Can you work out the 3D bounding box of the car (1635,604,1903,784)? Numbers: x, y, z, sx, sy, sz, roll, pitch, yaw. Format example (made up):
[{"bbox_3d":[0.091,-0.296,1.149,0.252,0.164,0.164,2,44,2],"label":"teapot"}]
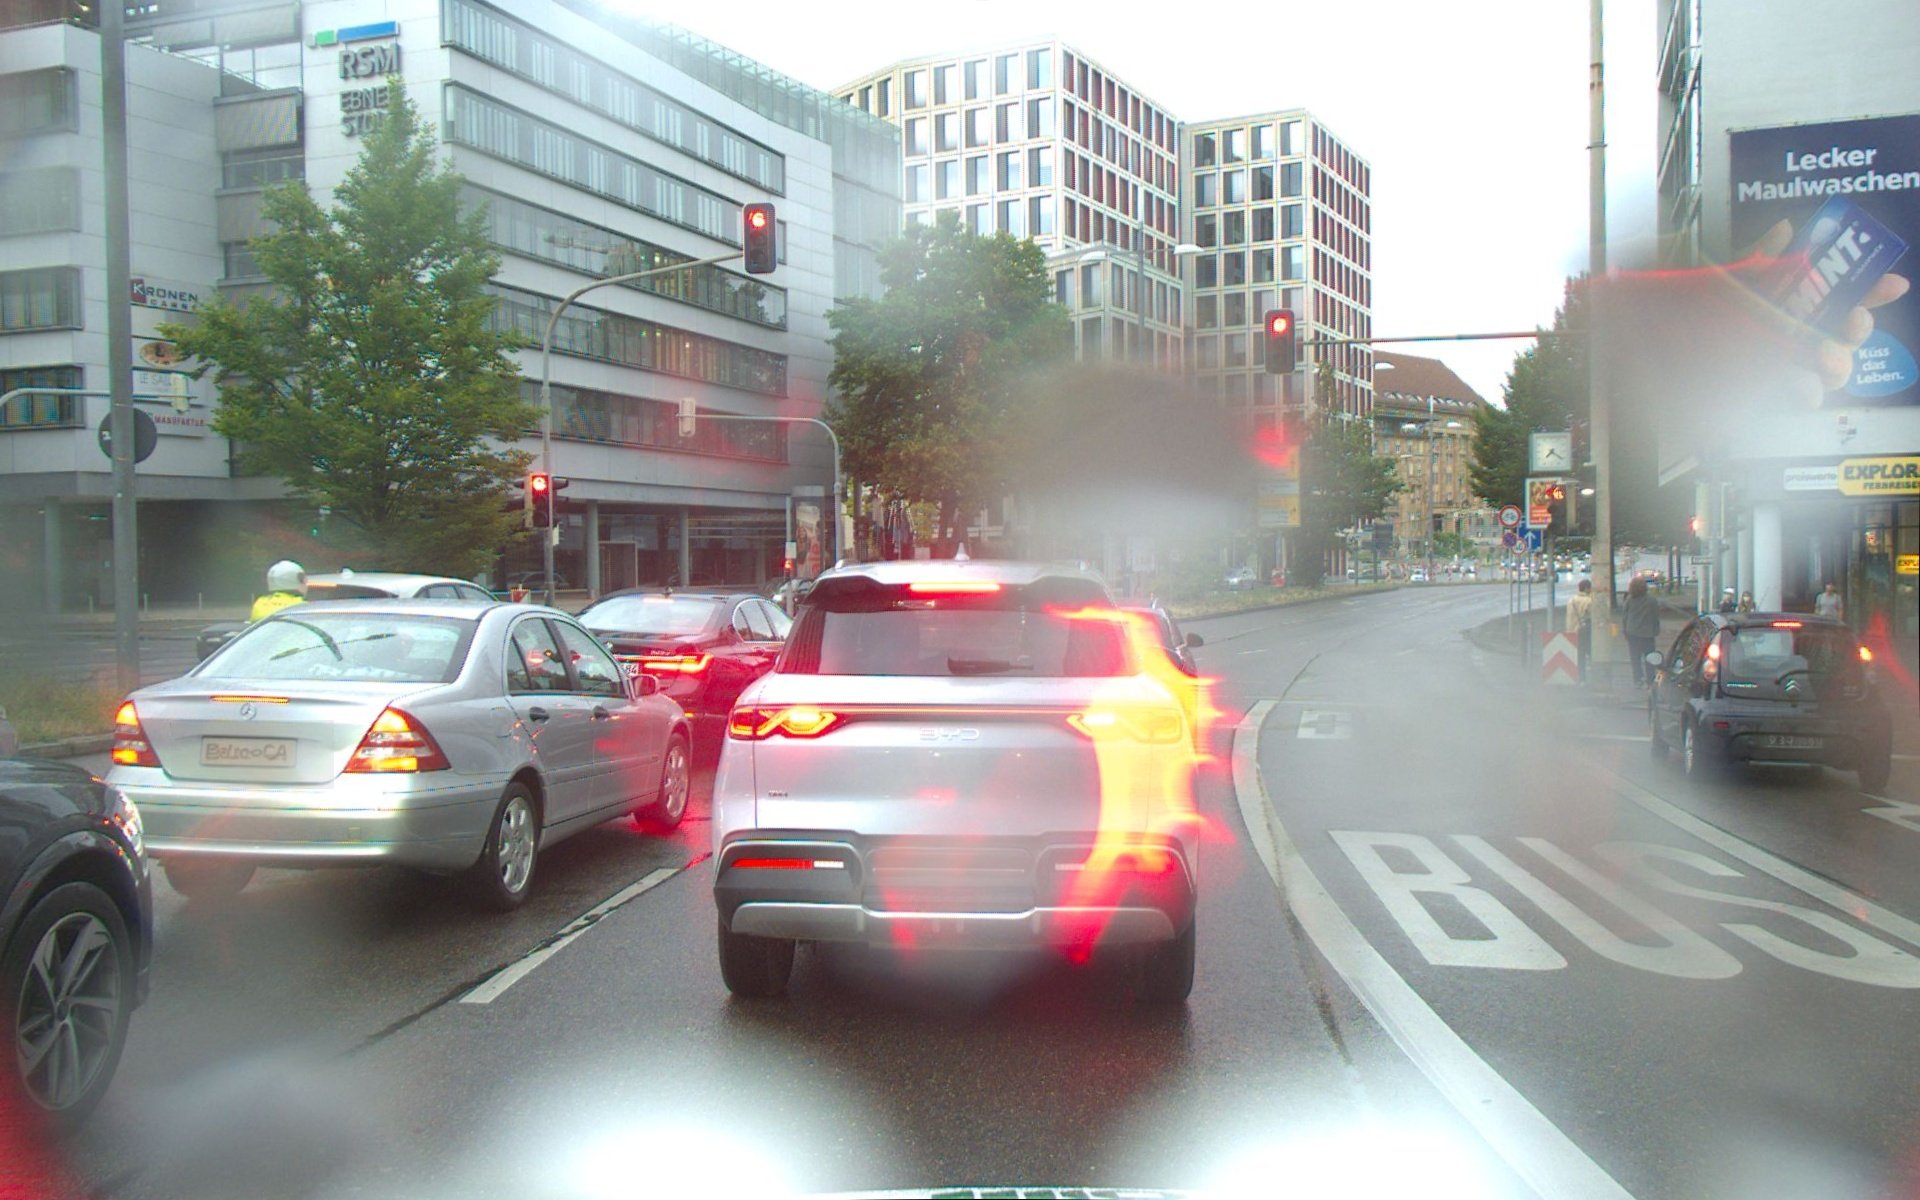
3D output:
[{"bbox_3d":[7.485,0.785,15.655,1.537,1.454,4.003,1,0,15],"label":"car"}]

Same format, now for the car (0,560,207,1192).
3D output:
[{"bbox_3d":[-3.140,0.675,2.982,1.614,1.548,4.271,1,1,0],"label":"car"}]

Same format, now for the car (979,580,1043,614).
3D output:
[{"bbox_3d":[2.539,-0.152,81.207,1.598,1.586,4.592,0,1,23],"label":"car"}]

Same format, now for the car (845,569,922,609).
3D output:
[{"bbox_3d":[-3.162,-0.445,69.448,1.606,1.598,3.714,1,0,27],"label":"car"}]

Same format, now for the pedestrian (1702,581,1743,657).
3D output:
[{"bbox_3d":[17.087,0.411,37.060,0.659,1.684,0.649,1,0,43],"label":"pedestrian"}]

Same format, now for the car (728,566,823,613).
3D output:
[{"bbox_3d":[-6.810,-0.400,61.510,1.952,1.638,4.001,1,1,20],"label":"car"}]

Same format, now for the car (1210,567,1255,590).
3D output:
[{"bbox_3d":[18.653,-1.496,113.257,1.955,1.514,3.996,0,1,27],"label":"car"}]

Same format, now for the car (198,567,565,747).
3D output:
[{"bbox_3d":[-5.456,0.496,16.188,1.670,1.512,4.003,1,0,9],"label":"car"}]

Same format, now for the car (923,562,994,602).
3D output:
[{"bbox_3d":[-0.026,-0.724,68.423,1.610,1.608,4.086,1,0,21],"label":"car"}]

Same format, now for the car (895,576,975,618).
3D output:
[{"bbox_3d":[-0.857,-0.083,58.781,1.655,1.409,3.870,1,0,18],"label":"car"}]

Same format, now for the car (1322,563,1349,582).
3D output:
[{"bbox_3d":[37.326,-2.694,164.422,1.577,1.771,3.437,1,0,31],"label":"car"}]

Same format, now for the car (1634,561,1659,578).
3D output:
[{"bbox_3d":[62.778,-2.772,151.224,1.662,1.512,3.993,1,0,29],"label":"car"}]

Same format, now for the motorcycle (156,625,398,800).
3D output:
[{"bbox_3d":[-5.202,0.815,12.768,0.783,1.205,2.030,1,0,8],"label":"motorcycle"}]

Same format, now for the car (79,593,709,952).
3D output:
[{"bbox_3d":[-2.646,0.709,8.823,1.537,1.432,4.112,1,0,7],"label":"car"}]

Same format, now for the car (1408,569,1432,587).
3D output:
[{"bbox_3d":[39.843,-1.911,143.218,1.598,1.462,3.907,0,1,23],"label":"car"}]

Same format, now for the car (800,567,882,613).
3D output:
[{"bbox_3d":[-4.224,-0.358,59.360,1.609,1.563,4.155,1,0,16],"label":"car"}]

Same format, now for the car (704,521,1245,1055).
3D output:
[{"bbox_3d":[0.091,0.618,7.382,1.739,1.708,4.000,1,0,1],"label":"car"}]

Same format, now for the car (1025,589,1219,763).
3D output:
[{"bbox_3d":[1.741,0.680,16.657,1.657,1.512,4.003,1,0,10],"label":"car"}]

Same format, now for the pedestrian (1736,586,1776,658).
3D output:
[{"bbox_3d":[17.596,0.478,36.564,0.615,1.570,0.649,1,0,43],"label":"pedestrian"}]

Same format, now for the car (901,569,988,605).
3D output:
[{"bbox_3d":[-0.650,-0.623,74.774,1.778,1.536,5.191,0,1,26],"label":"car"}]

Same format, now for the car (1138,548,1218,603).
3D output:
[{"bbox_3d":[8.627,-0.946,65.203,1.953,2.049,4.848,1,0,22],"label":"car"}]

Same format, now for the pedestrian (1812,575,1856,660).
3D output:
[{"bbox_3d":[18.962,0.371,35.895,0.659,1.825,0.768,1,0,43],"label":"pedestrian"}]

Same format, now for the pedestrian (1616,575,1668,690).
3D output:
[{"bbox_3d":[11.047,0.511,26.818,0.733,1.829,0.817,0,1,20],"label":"pedestrian"}]

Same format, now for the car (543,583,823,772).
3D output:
[{"bbox_3d":[-2.435,0.639,15.491,1.537,1.512,4.003,1,0,6],"label":"car"}]

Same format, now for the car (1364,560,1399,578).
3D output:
[{"bbox_3d":[51.047,-3.753,200.259,3.904,2.049,2.001,1,0,20],"label":"car"}]

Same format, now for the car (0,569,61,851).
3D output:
[{"bbox_3d":[-6.264,0.614,7.355,1.826,1.560,4.778,1,1,1],"label":"car"}]

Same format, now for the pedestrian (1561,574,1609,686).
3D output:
[{"bbox_3d":[10.379,0.481,27.473,0.733,1.829,0.817,0,1,20],"label":"pedestrian"}]

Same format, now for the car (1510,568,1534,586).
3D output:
[{"bbox_3d":[51.505,-2.115,151.492,1.849,1.671,4.000,1,1,22],"label":"car"}]

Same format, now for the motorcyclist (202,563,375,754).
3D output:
[{"bbox_3d":[-5.182,0.437,12.828,0.753,1.404,1.119,1,0,8],"label":"motorcyclist"}]

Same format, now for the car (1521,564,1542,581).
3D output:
[{"bbox_3d":[71.273,-3.447,206.308,1.954,2.049,3.996,1,0,26],"label":"car"}]
